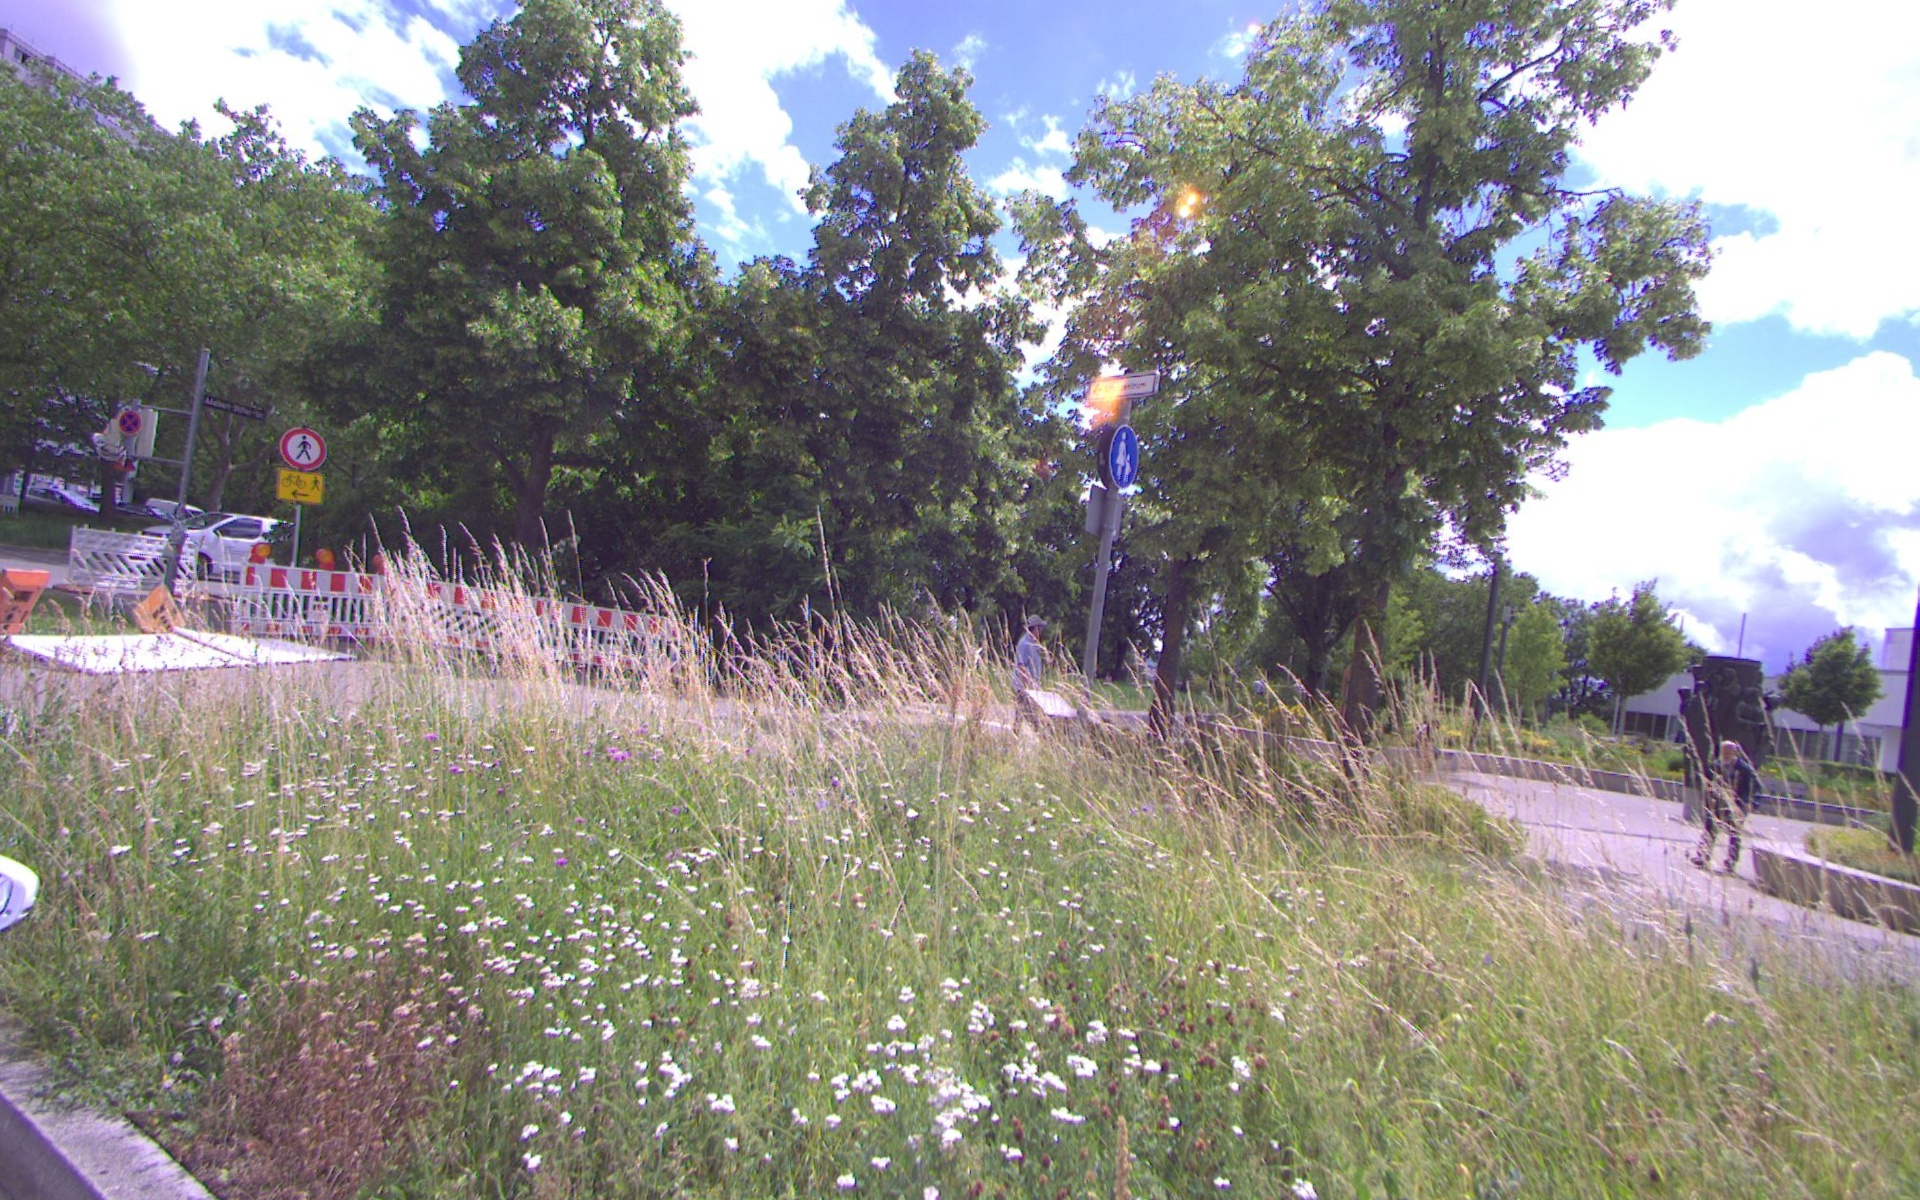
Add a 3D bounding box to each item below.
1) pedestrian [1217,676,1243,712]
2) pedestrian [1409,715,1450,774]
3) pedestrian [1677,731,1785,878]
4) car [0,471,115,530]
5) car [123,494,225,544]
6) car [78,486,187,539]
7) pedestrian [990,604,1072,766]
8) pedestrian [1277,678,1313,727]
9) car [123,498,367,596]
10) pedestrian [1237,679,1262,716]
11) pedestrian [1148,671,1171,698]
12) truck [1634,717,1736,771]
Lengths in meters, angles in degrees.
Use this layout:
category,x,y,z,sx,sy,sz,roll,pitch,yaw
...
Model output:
category,x,y,z,sx,sy,sz,roll,pitch,yaw
pedestrian,13.744,4.800,51.175,0.872,1.681,0.817,8,-1,30
pedestrian,10.803,3.306,23.129,0.623,1.236,0.618,7,-1,36
pedestrian,9.661,2.537,12.606,0.759,1.644,0.764,8,-1,-39
car,-43.692,-4.778,48.566,3.926,2.037,2.001,8,-1,0
car,-44.240,-4.530,56.685,3.926,2.037,2.001,8,-1,0
car,-43.786,-4.602,53.282,3.926,2.037,2.001,8,-1,0
pedestrian,0.888,1.044,12.524,0.750,1.862,0.773,7,-1,5
pedestrian,15.064,4.603,45.243,1.137,2.037,0.817,8,0,30
car,-19.714,-1.388,28.047,1.915,1.895,5.090,7,-2,28
pedestrian,14.638,4.936,50.850,0.879,1.732,0.817,8,-1,30
pedestrian,13.117,5.574,66.207,1.135,1.571,0.818,8,-1,-2
truck,37.322,7.385,51.919,1.965,2.037,3.999,8,-1,-4
